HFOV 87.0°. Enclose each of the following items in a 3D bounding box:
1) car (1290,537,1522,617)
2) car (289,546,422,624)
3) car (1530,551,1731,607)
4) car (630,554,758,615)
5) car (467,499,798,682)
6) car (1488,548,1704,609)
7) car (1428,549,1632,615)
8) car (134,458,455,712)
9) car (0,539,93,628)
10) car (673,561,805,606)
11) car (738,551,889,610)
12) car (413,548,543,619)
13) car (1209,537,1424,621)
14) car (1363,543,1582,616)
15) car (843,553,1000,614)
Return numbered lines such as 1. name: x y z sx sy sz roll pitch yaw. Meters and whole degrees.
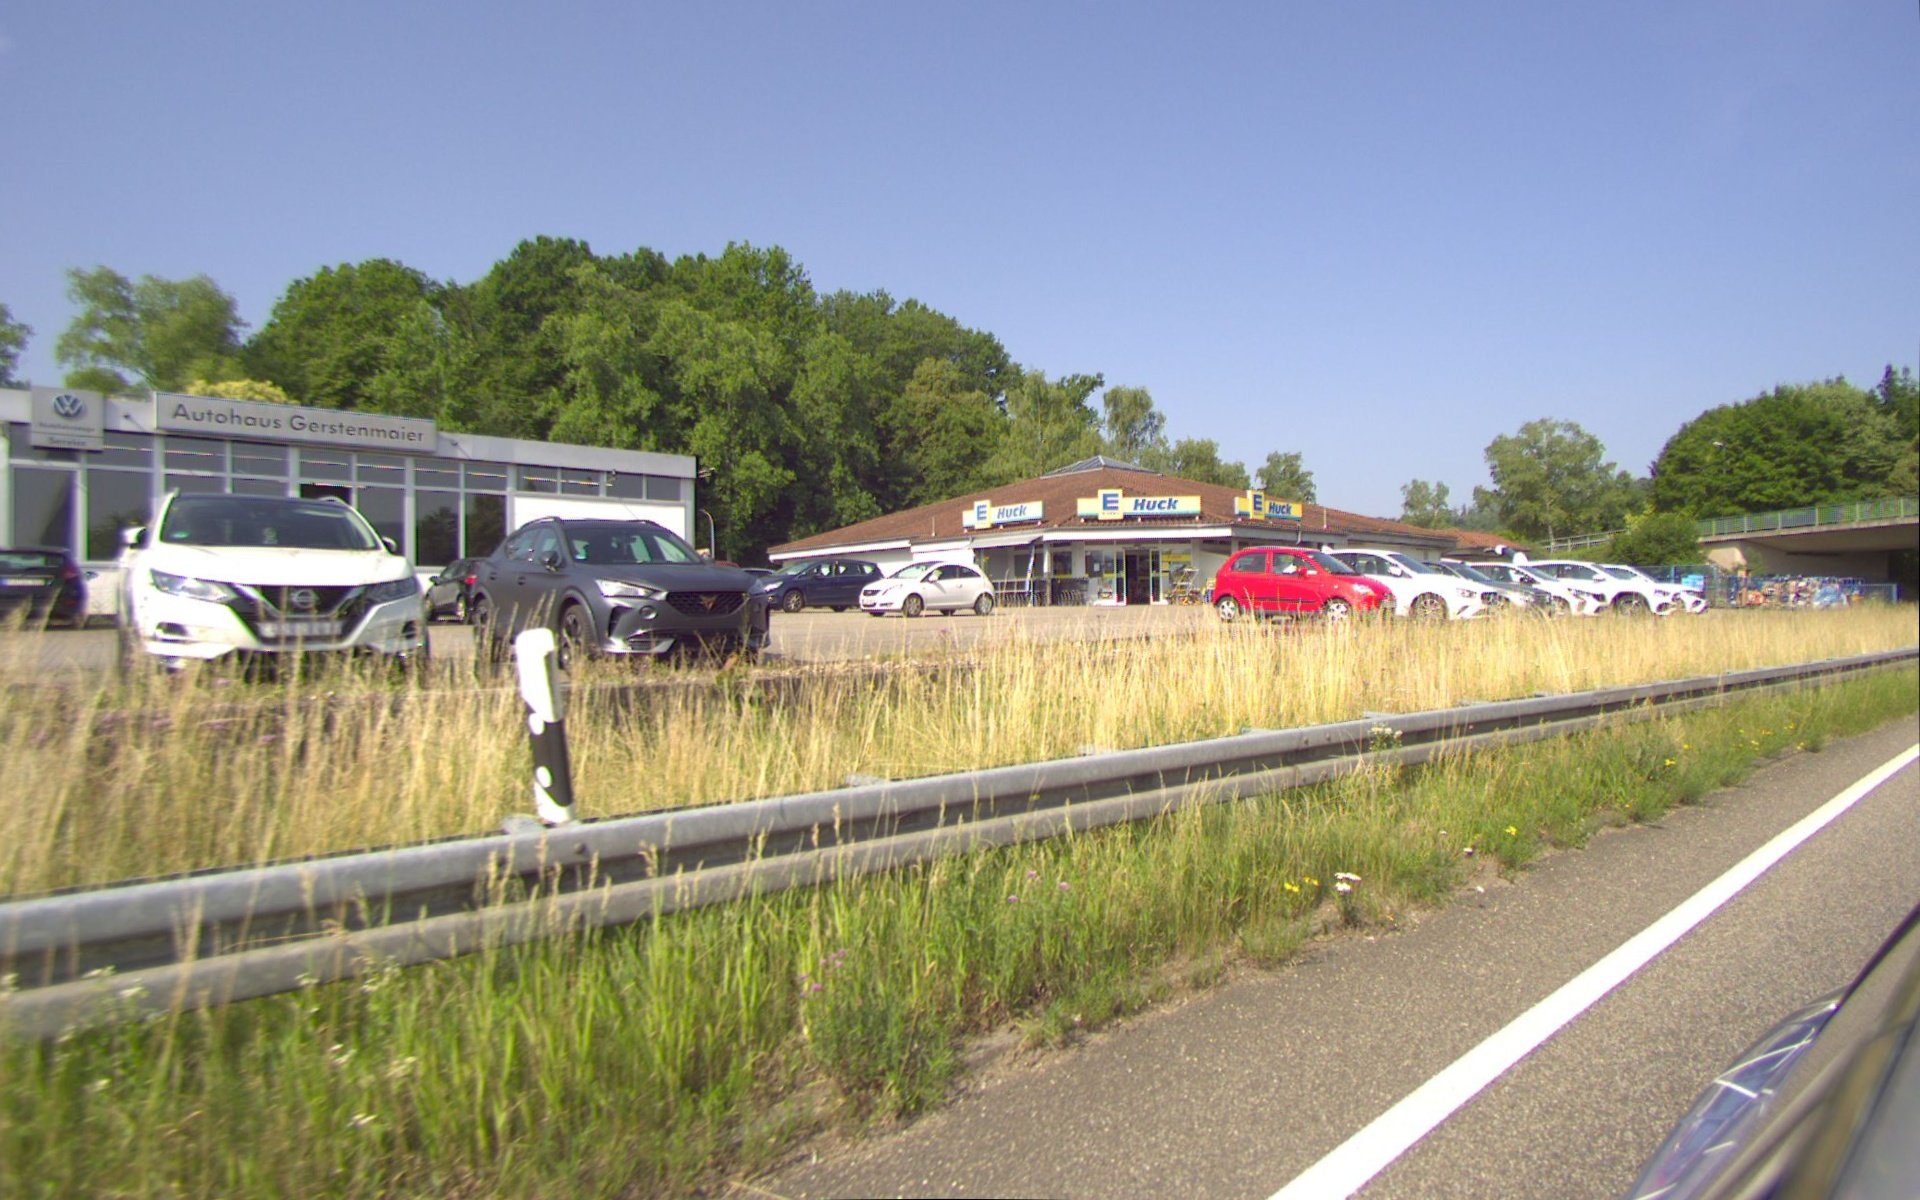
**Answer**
1. car: 9.090 -0.470 20.855 1.844 1.483 3.995 -1 1 -40
2. car: -12.844 -0.324 21.383 1.759 1.483 4.318 -1 1 -40
3. car: 19.473 -0.612 29.561 1.844 1.483 4.569 -1 1 -40
4. car: -7.146 -0.425 26.969 1.759 1.483 3.995 -1 1 -40
5. car: -3.489 -0.119 10.309 1.844 1.483 3.995 -1 1 -40
6. car: 16.952 -0.571 27.163 1.844 1.483 4.569 -1 1 -40
7. car: 13.919 -0.442 24.886 1.844 1.483 3.995 -1 1 -40
8. car: -5.667 -0.137 8.390 1.774 1.571 3.995 -1 1 -40
9. car: -17.170 -0.312 18.645 1.759 1.483 4.318 -1 1 -40
10. car: -7.568 -0.571 34.850 4.110 1.484 1.802 -1 1 -42
11. car: -4.389 -0.590 30.746 4.277 1.649 1.802 -1 1 -42
12. car: -11.082 -0.391 23.138 1.759 1.483 3.995 -1 1 -40
13. car: 6.845 -0.409 19.657 1.773 1.483 3.544 -1 1 -40
14. car: 11.380 -0.465 22.688 1.844 1.483 3.995 -1 1 -40
15. car: -0.976 -0.443 26.689 3.922 1.483 1.802 -1 1 -42
